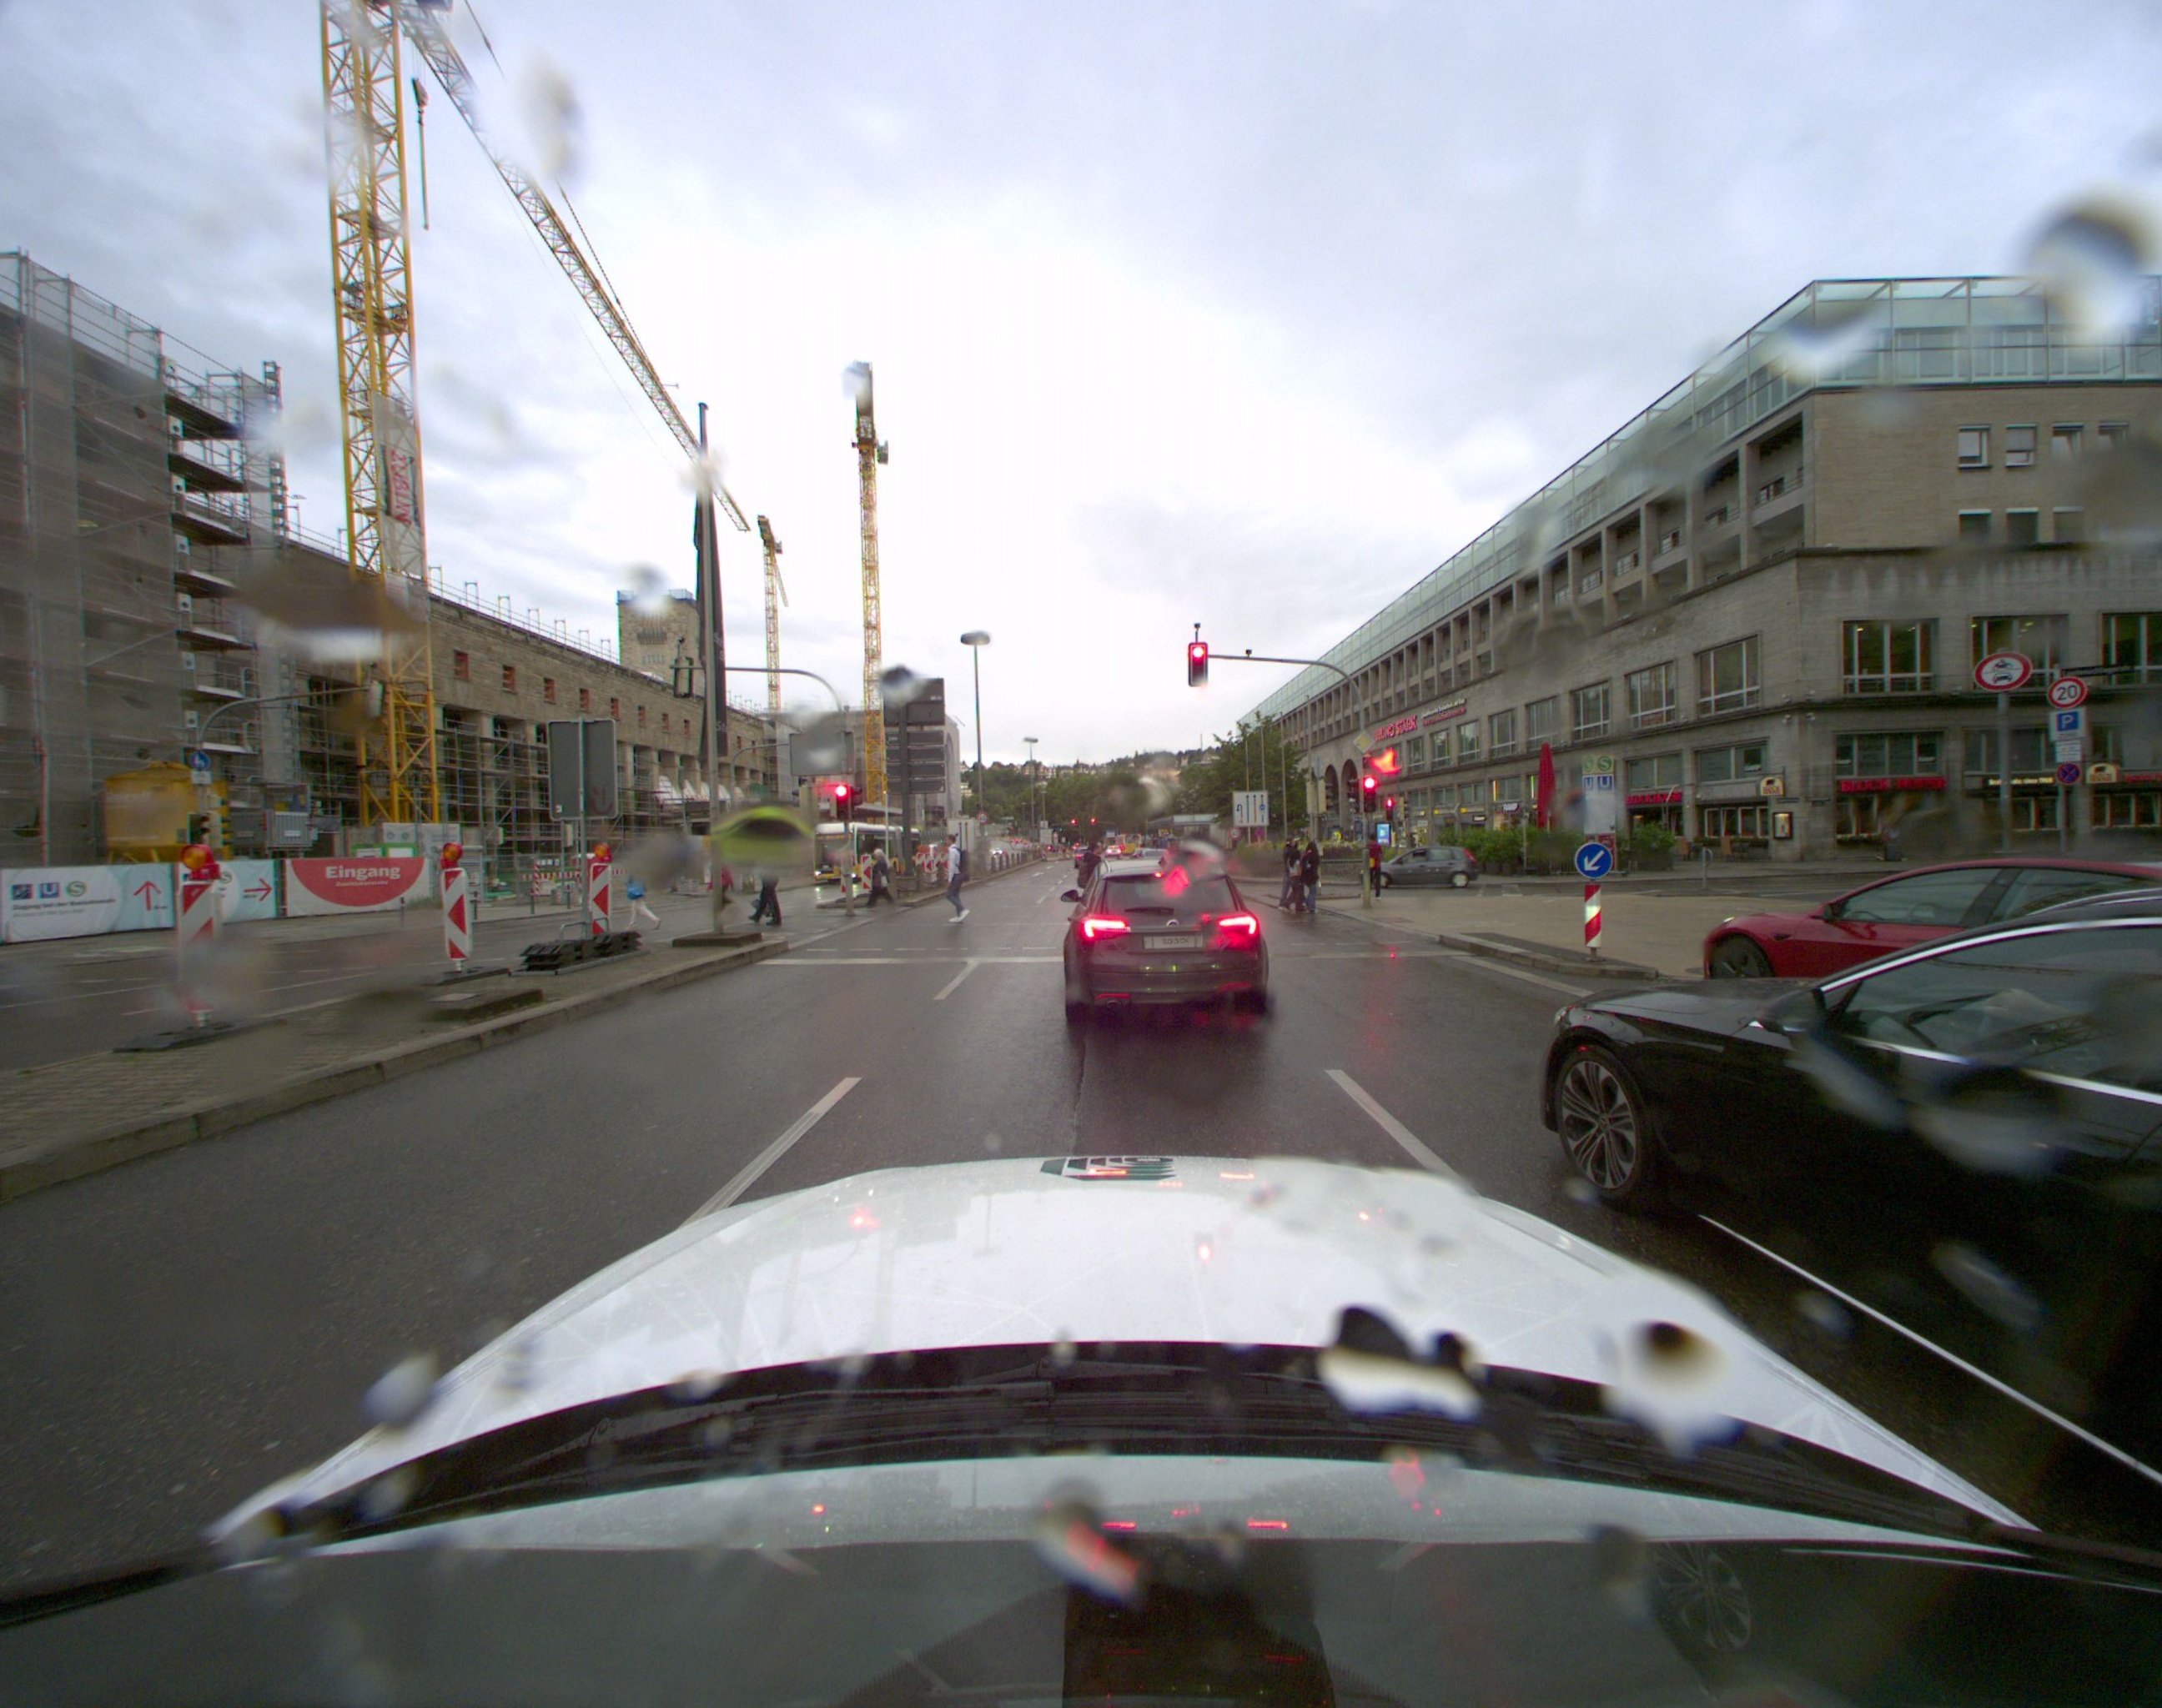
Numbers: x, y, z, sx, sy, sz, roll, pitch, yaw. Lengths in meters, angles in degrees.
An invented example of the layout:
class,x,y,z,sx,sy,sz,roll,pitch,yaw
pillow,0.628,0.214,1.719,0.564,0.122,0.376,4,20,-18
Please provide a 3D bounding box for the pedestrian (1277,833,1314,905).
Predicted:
class,x,y,z,sx,sy,sz,roll,pitch,yaw
pedestrian,5.192,0.349,19.740,0.753,1.717,0.466,0,-1,-2

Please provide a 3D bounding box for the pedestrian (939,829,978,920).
class,x,y,z,sx,sy,sz,roll,pitch,yaw
pedestrian,-2.602,0.428,17.388,0.798,1.890,0.618,0,-1,-7

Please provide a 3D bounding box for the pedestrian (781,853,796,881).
class,x,y,z,sx,sy,sz,roll,pitch,yaw
pedestrian,-19.720,0.842,54.912,0.659,1.855,0.799,-2,0,2

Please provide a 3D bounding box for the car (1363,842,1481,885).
class,x,y,z,sx,sy,sz,roll,pitch,yaw
car,11.681,0.333,28.108,3.624,1.398,1.861,0,0,19

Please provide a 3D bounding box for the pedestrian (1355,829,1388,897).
class,x,y,z,sx,sy,sz,roll,pitch,yaw
pedestrian,7.640,0.238,21.433,0.563,1.752,0.684,-1,-1,44

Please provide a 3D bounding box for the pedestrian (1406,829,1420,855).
class,x,y,z,sx,sy,sz,roll,pitch,yaw
pedestrian,26.706,-0.958,65.563,0.760,2.014,0.825,0,0,1

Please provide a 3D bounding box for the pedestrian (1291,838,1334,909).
class,x,y,z,sx,sy,sz,roll,pitch,yaw
pedestrian,5.310,0.443,18.701,0.797,1.608,0.619,0,0,-2

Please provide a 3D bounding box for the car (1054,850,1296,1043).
class,x,y,z,sx,sy,sz,roll,pitch,yaw
car,0.776,0.722,8.323,1.868,1.486,4.001,0,0,1

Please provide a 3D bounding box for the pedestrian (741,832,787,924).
class,x,y,z,sx,sy,sz,roll,pitch,yaw
pedestrian,-6.456,0.483,16.621,0.576,1.836,0.820,0,0,2

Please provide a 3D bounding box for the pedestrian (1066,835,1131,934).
class,x,y,z,sx,sy,sz,roll,pitch,yaw
pedestrian,0.319,0.556,15.182,1.093,1.751,0.653,-3,0,-1

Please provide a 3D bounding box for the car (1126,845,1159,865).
class,x,y,z,sx,sy,sz,roll,pitch,yaw
car,4.347,0.076,58.109,1.749,1.398,4.397,0,0,-3

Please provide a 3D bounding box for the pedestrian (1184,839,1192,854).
class,x,y,z,sx,sy,sz,roll,pitch,yaw
pedestrian,12.422,-0.857,94.482,0.761,1.690,0.824,0,0,-3

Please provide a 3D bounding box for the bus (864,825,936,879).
class,x,y,z,sx,sy,sz,roll,pitch,yaw
bus,-13.038,-0.133,59.607,2.658,3.602,10.215,0,0,2

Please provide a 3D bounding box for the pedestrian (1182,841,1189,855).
class,x,y,z,sx,sy,sz,roll,pitch,yaw
pedestrian,12.285,-0.689,95.785,0.761,1.690,0.824,0,0,-3

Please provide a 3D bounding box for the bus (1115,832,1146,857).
class,x,y,z,sx,sy,sz,roll,pitch,yaw
bus,7.251,-1.328,121.521,4.158,3.469,14.660,0,0,2

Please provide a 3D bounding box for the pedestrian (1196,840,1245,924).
class,x,y,z,sx,sy,sz,roll,pitch,yaw
pedestrian,2.761,0.549,16.222,0.791,1.626,0.899,0,0,-2

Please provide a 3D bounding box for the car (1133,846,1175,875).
class,x,y,z,sx,sy,sz,roll,pitch,yaw
car,3.746,0.326,42.472,1.748,1.398,4.647,0,0,-1

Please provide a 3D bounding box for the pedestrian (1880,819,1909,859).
class,x,y,z,sx,sy,sz,roll,pitch,yaw
pedestrian,31.002,-0.565,31.045,0.750,1.512,0.721,-1,-1,43

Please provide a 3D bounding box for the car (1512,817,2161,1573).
class,x,y,z,sx,sy,sz,roll,pitch,yaw
car,3.041,0.672,1.841,1.787,1.501,4.630,0,0,1

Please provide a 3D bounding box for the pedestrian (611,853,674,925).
class,x,y,z,sx,sy,sz,roll,pitch,yaw
pedestrian,-9.703,0.758,18.043,0.912,1.563,0.899,0,0,-2

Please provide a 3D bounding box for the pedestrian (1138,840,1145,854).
class,x,y,z,sx,sy,sz,roll,pitch,yaw
pedestrian,10.723,-1.278,143.456,1.194,2.435,1.229,0,0,3

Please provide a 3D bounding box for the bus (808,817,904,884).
class,x,y,z,sx,sy,sz,roll,pitch,yaw
bus,-13.361,-0.165,49.422,2.658,3.602,10.243,0,0,2

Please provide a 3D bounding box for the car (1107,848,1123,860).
class,x,y,z,sx,sy,sz,roll,pitch,yaw
car,4.166,0.006,99.895,1.838,1.398,3.565,0,0,2

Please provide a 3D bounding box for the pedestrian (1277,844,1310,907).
class,x,y,z,sx,sy,sz,roll,pitch,yaw
pedestrian,5.024,0.511,19.265,0.677,1.474,0.366,0,-1,-3

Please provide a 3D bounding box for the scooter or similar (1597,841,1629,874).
class,x,y,z,sx,sy,sz,roll,pitch,yaw
scooter or similar,19.392,0.117,29.703,0.290,1.189,1.014,0,0,-17

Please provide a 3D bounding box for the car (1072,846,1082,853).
class,x,y,z,sx,sy,sz,roll,pitch,yaw
car,-0.664,-0.825,150.939,1.752,1.398,3.565,0,0,2

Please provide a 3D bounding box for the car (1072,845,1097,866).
class,x,y,z,sx,sy,sz,roll,pitch,yaw
car,0.256,0.104,58.160,1.747,1.398,4.538,0,0,0

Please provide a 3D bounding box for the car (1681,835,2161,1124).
class,x,y,z,sx,sy,sz,roll,pitch,yaw
car,6.515,0.643,5.363,1.868,1.486,4.527,0,0,1

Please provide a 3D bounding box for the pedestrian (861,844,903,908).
class,x,y,z,sx,sy,sz,roll,pitch,yaw
pedestrian,-5.039,0.543,20.654,0.877,1.561,0.780,0,-1,-27

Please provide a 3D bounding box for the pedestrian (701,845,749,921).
class,x,y,z,sx,sy,sz,roll,pitch,yaw
pedestrian,-8.364,0.682,19.164,0.797,1.717,0.619,-3,0,-2
